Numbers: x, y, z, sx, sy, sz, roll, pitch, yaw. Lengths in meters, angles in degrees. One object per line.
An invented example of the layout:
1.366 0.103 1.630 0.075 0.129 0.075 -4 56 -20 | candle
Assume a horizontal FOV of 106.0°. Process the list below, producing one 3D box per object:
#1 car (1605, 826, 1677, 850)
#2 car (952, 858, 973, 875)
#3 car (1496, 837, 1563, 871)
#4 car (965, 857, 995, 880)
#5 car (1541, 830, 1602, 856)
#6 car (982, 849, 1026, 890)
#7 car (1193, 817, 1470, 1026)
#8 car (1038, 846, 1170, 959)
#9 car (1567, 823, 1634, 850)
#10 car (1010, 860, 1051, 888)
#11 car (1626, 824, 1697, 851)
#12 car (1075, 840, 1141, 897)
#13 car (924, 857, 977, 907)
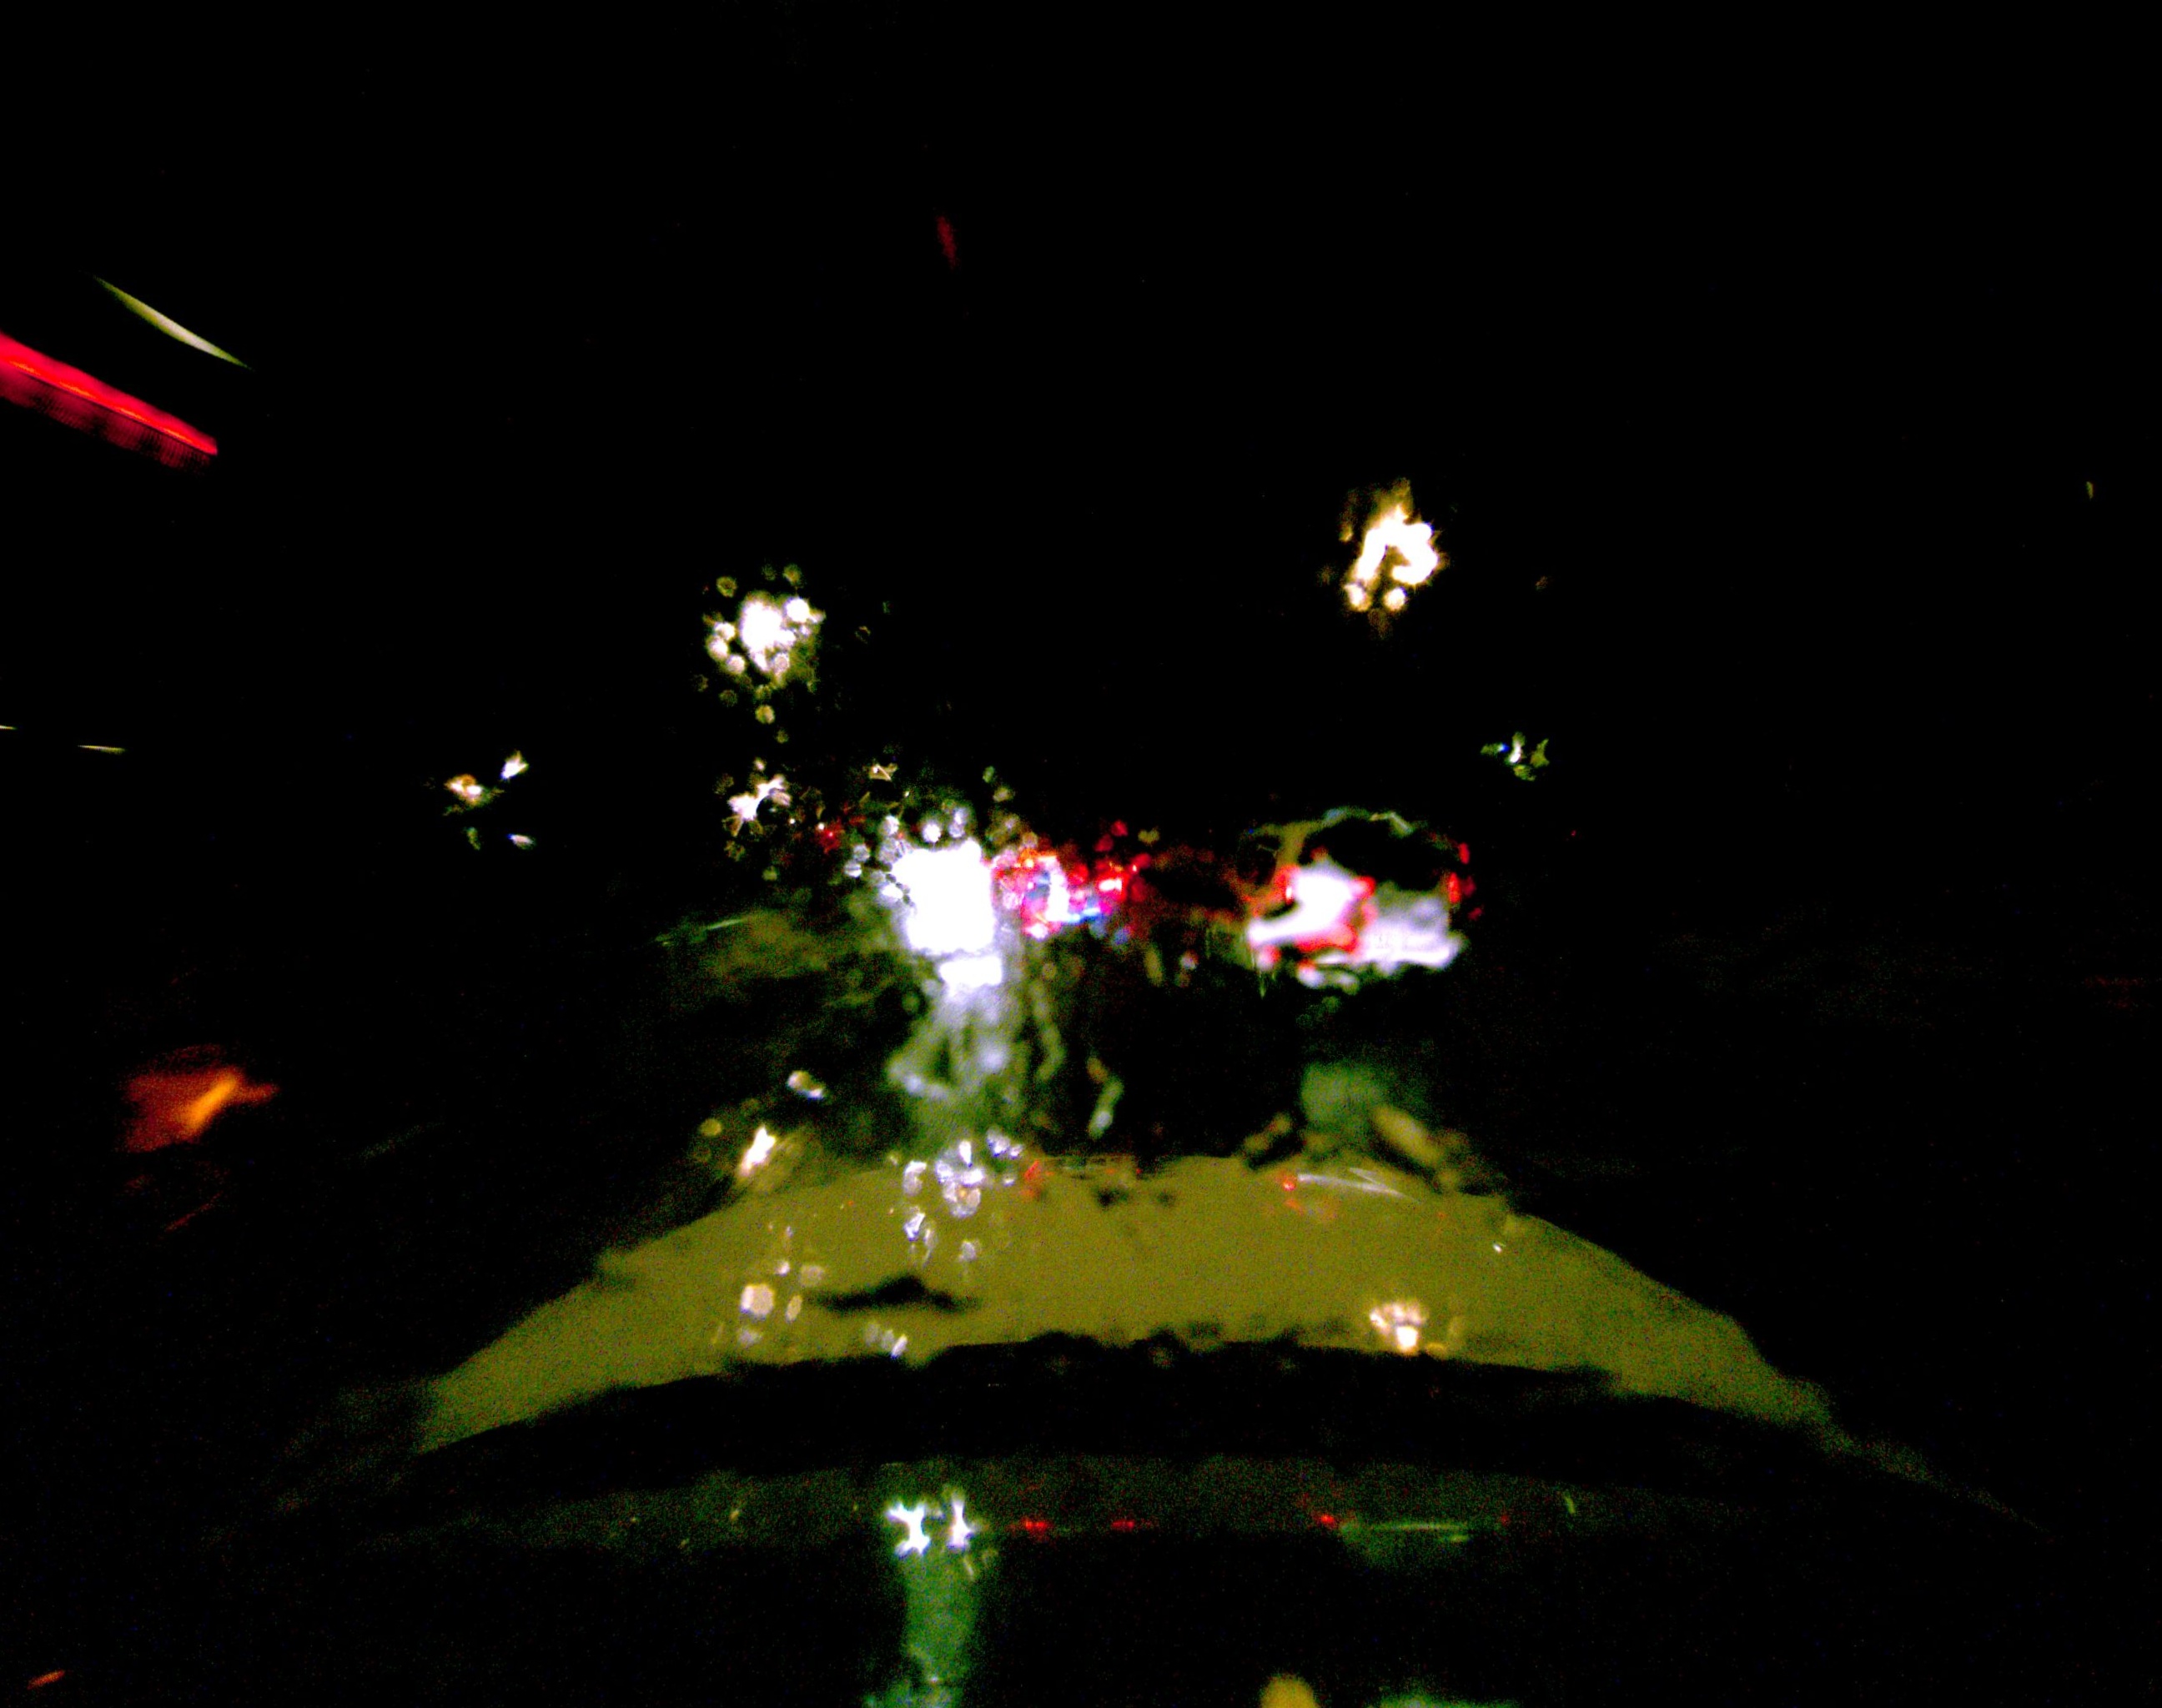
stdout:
41.137 -1.150 59.929 3.957 1.706 2.008 0 -1 16 | car
-12.607 1.278 86.262 1.995 1.732 3.983 0 0 -12 | car
24.259 0.017 44.193 1.854 1.646 3.973 -3 -1 9 | car
-8.053 1.148 64.692 1.995 1.732 3.983 0 0 -12 | car
32.369 -0.698 53.905 1.765 1.669 4.073 0 0 3 | car
-4.016 0.766 41.986 1.993 2.014 3.987 0 0 -9 | car
2.548 0.623 9.468 1.846 1.865 4.339 0 0 -1 | car
0.253 0.760 14.677 2.010 1.717 4.447 0 0 -3 | car
40.096 -1.295 62.953 3.959 2.014 2.007 0 -1 13 | car
-3.297 1.269 52.762 1.996 1.718 3.981 0 0 -14 | car
44.552 -1.231 62.555 3.961 2.014 2.006 0 -1 11 | car
0.957 0.540 31.323 1.966 2.047 3.991 0 0 -7 | car
-5.401 1.095 33.522 2.015 1.887 4.436 0 0 -10 | car
